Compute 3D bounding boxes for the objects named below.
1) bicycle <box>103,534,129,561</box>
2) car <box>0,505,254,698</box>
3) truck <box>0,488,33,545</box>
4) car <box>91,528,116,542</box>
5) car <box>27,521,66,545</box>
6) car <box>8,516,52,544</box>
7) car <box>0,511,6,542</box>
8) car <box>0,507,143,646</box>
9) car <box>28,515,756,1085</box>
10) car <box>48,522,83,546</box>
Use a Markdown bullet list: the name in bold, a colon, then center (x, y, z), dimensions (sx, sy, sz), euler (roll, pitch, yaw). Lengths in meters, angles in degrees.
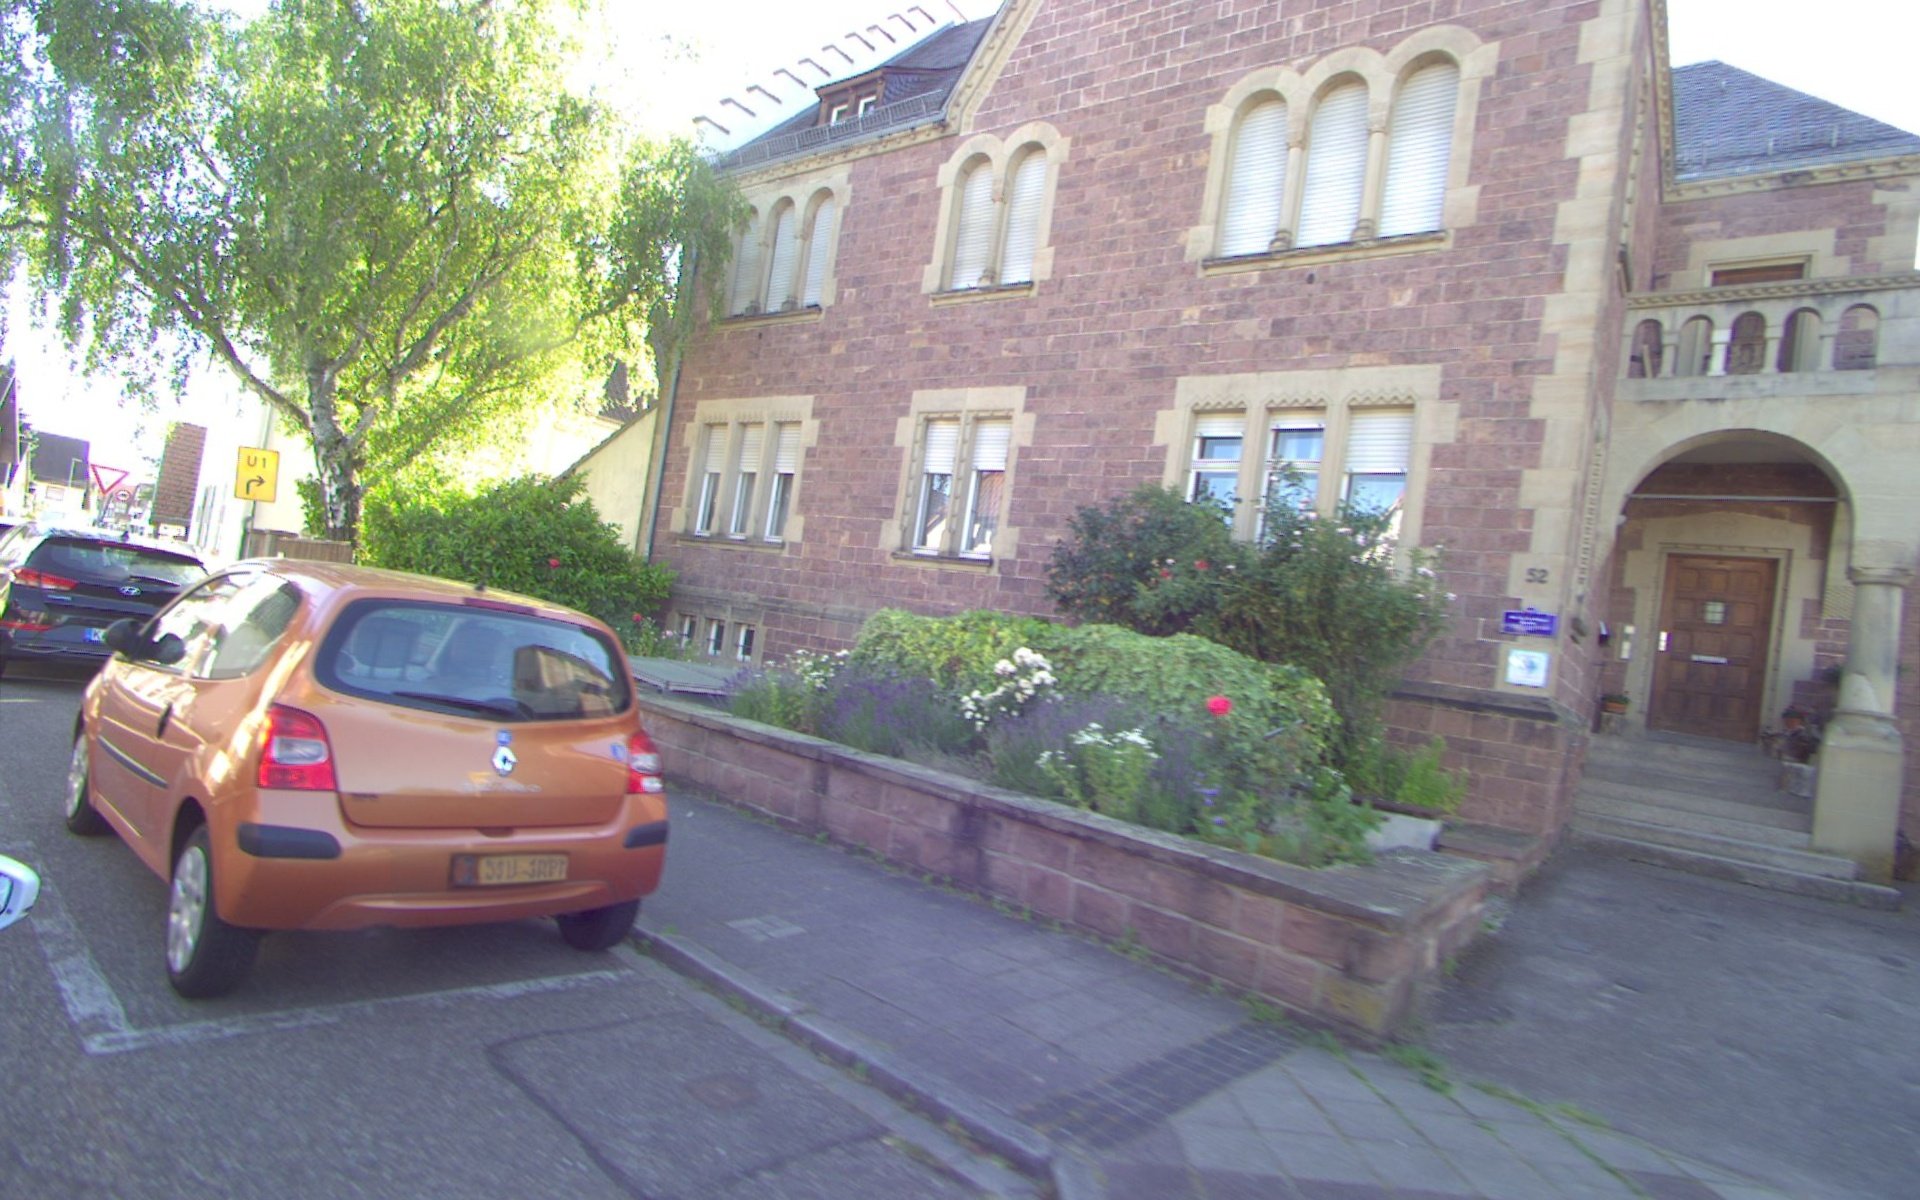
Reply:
- **bicycle**: center (-39.980, -2.468, 47.649), dimensions (0.430, 1.189, 1.816), euler (9, -3, -28)
- **car**: center (-9.053, -0.095, 10.394), dimensions (4.226, 1.451, 1.808), euler (7, -4, 42)
- **truck**: center (-54.869, -4.840, 57.107), dimensions (2.258, 2.899, 5.729), euler (10, -4, -36)
- **car**: center (-125.014, -9.503, 146.788), dimensions (3.937, 1.599, 1.975), euler (6, -4, 40)
- **car**: center (-62.268, -4.555, 68.639), dimensions (1.583, 1.350, 3.577), euler (11, -5, -39)
- **car**: center (-59.811, -4.453, 64.734), dimensions (1.640, 1.447, 3.577), euler (11, -4, -39)
- **car**: center (-51.728, -4.061, 52.711), dimensions (1.799, 1.639, 3.844), euler (11, -4, -36)
- **car**: center (-12.471, -0.436, 13.499), dimensions (1.805, 1.451, 4.231), euler (12, -4, -44)
- **car**: center (-2.907, 0.570, 4.734), dimensions (3.879, 1.494, 1.648), euler (7, -4, 42)
- **car**: center (-67.174, -4.940, 75.580), dimensions (1.583, 1.458, 3.577), euler (11, -4, -39)
